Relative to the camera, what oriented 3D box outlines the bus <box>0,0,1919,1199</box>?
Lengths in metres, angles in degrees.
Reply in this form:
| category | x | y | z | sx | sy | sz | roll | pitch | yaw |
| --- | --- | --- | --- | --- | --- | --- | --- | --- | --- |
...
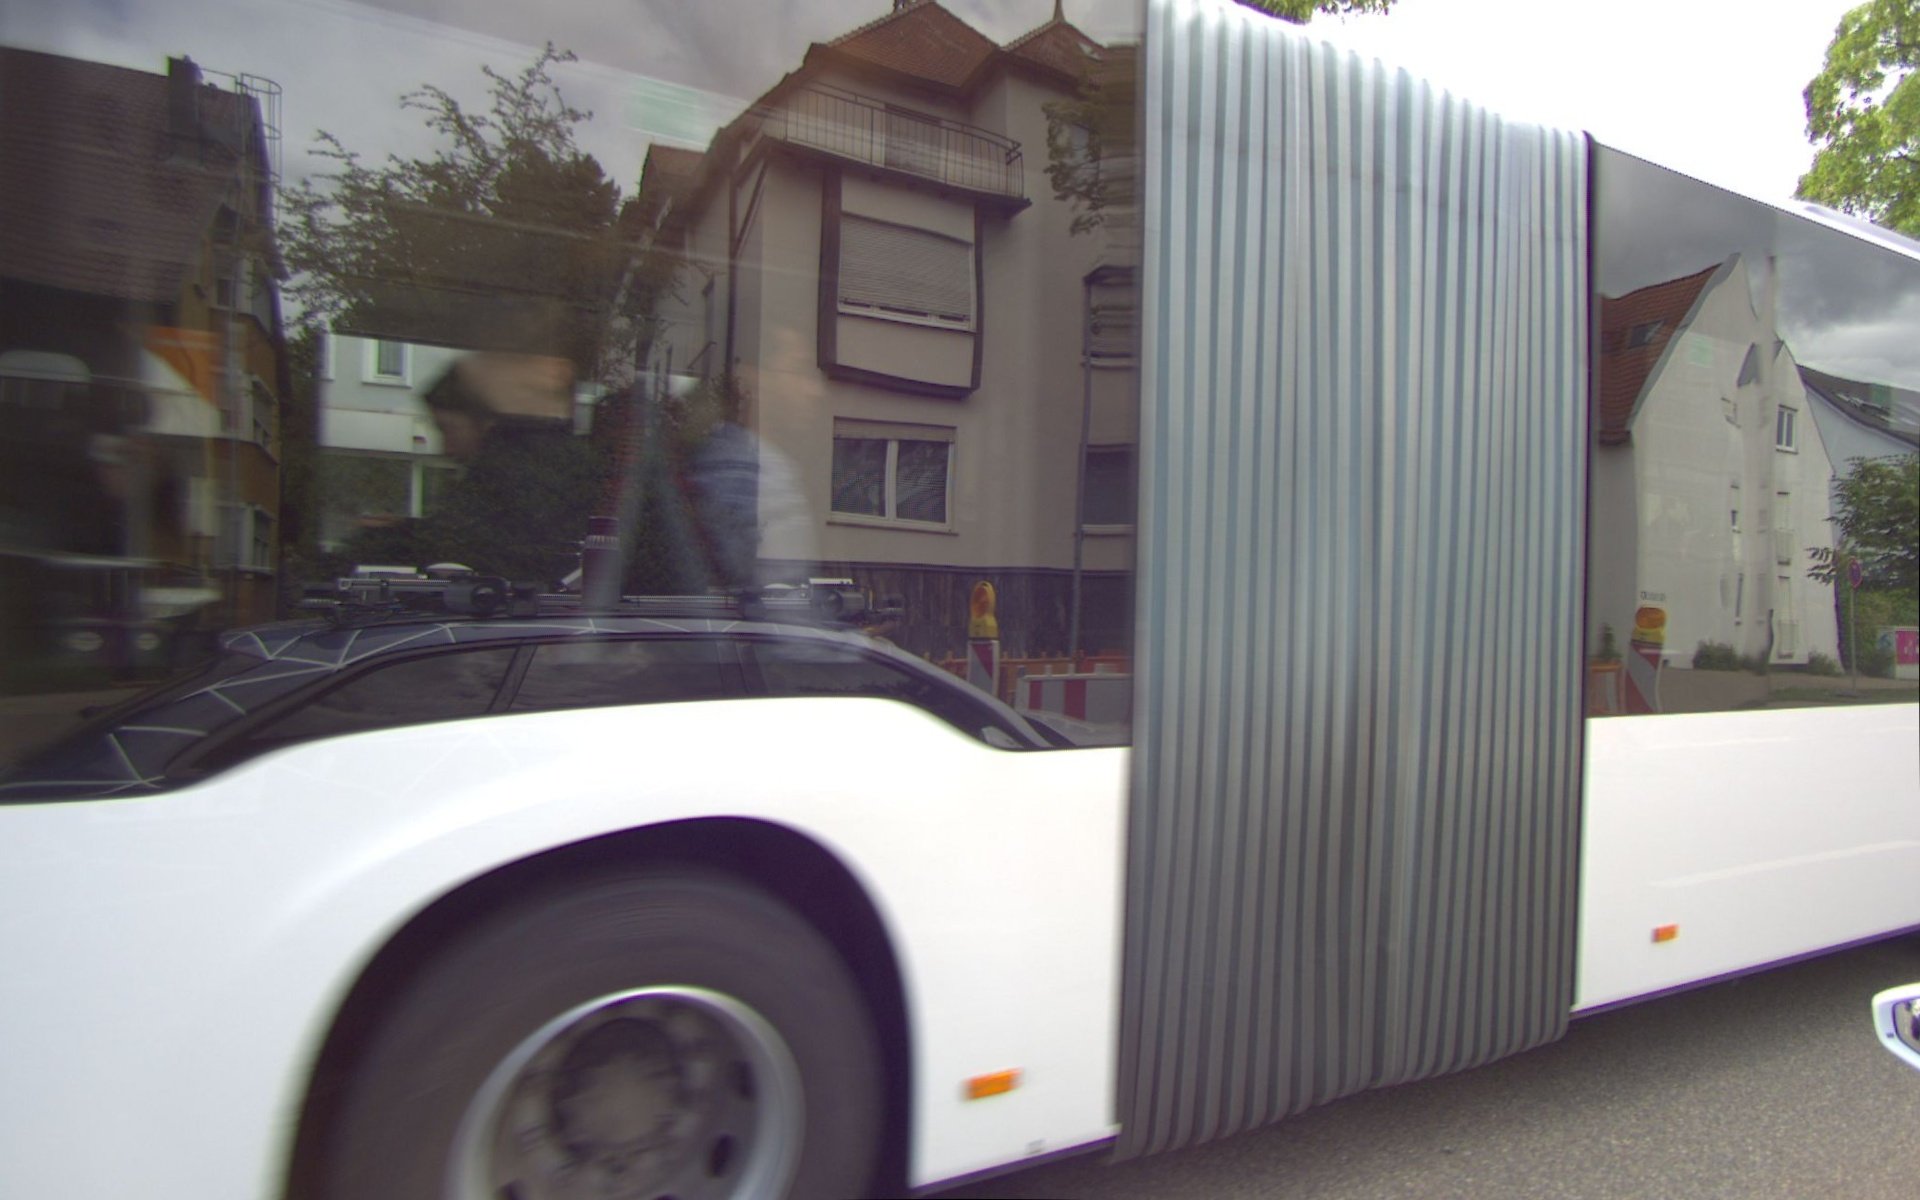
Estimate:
| category | x | y | z | sx | sy | sz | roll | pitch | yaw |
| --- | --- | --- | --- | --- | --- | --- | --- | --- | --- |
| bus | -0.710 | -0.068 | 3.036 | 17.808 | 3.332 | 2.795 | 2 | 1 | -26 |
